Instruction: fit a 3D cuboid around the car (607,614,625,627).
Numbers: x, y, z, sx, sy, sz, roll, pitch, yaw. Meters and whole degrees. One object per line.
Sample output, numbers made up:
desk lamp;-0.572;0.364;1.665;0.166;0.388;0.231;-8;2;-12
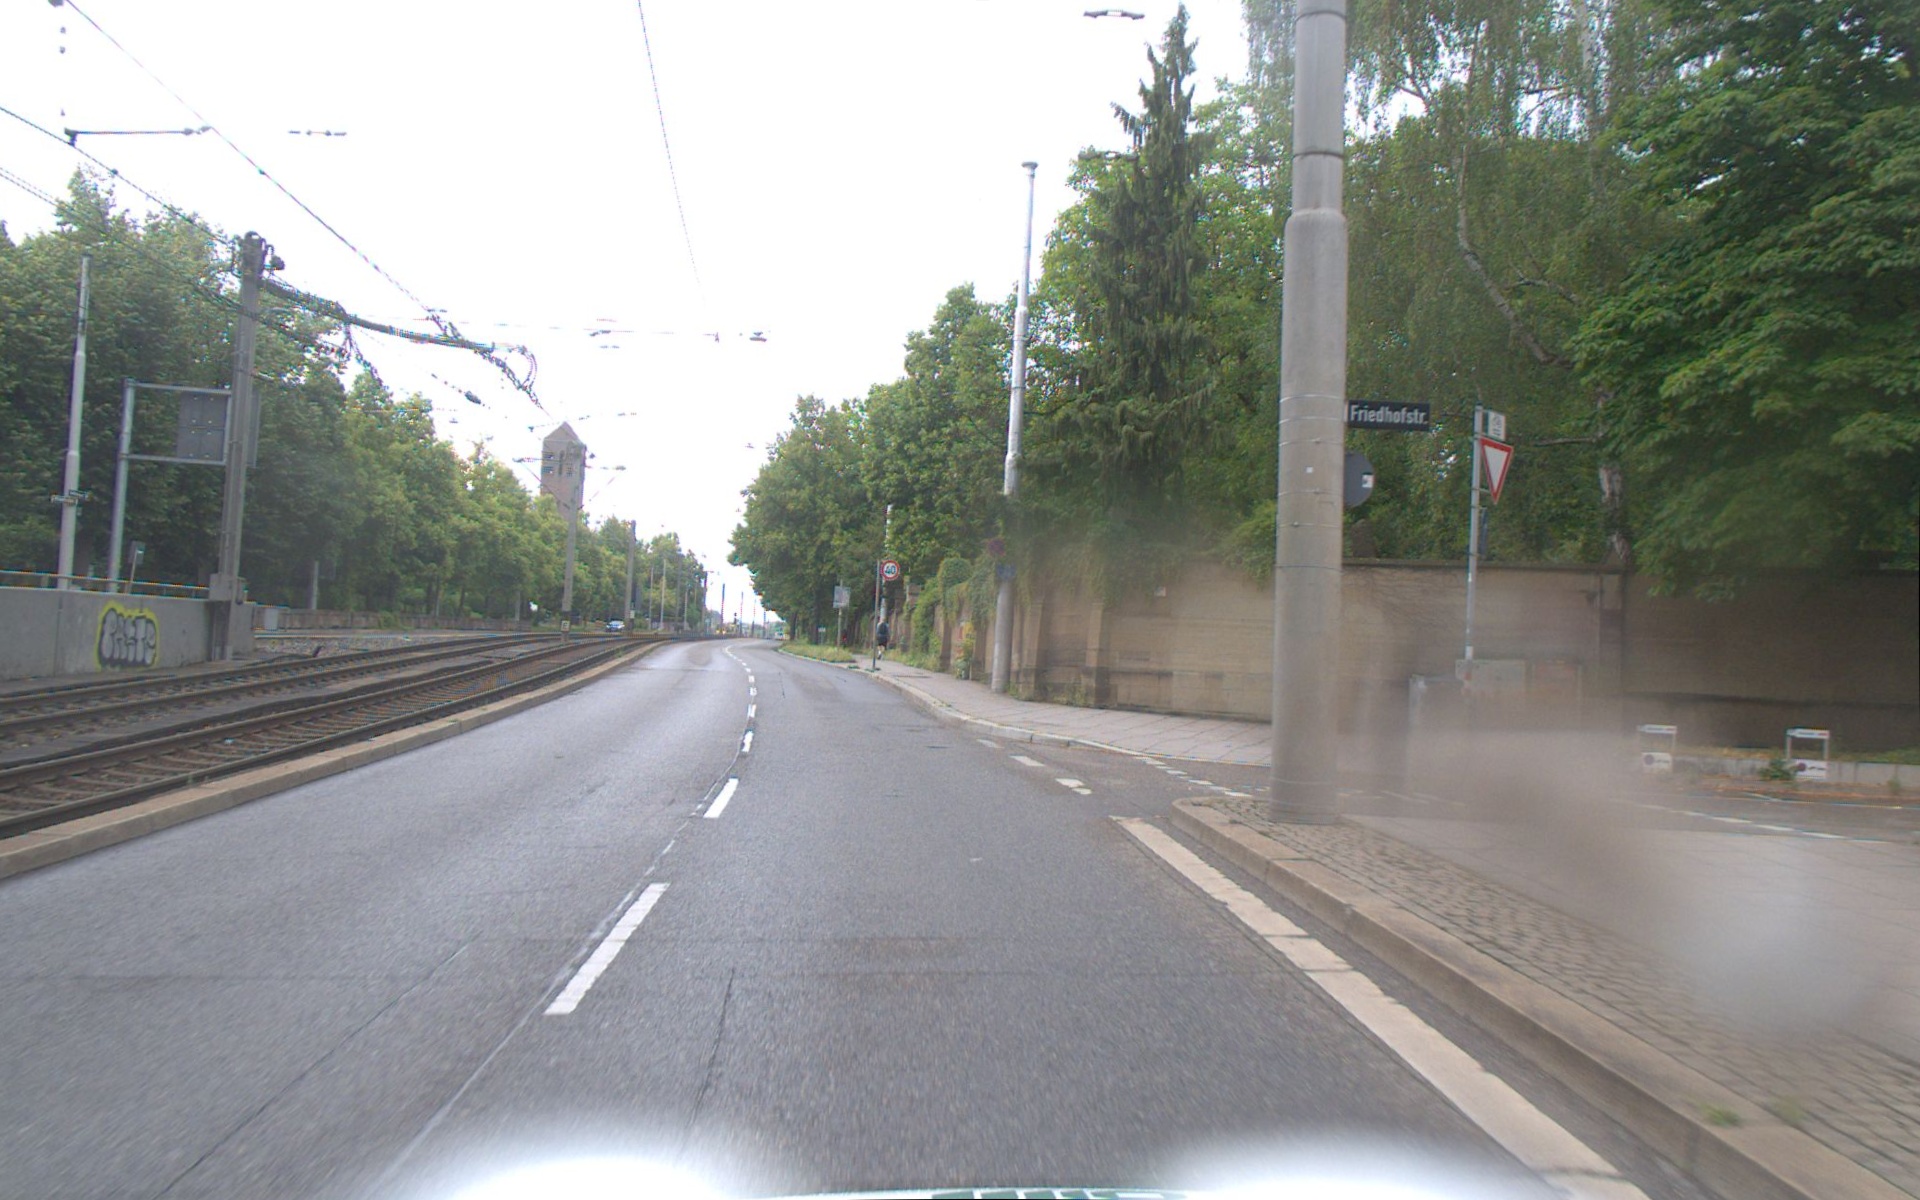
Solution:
car;-42.004;2.489;202.129;1.760;1.536;3.843;3;-1;-7

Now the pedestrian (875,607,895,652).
pedestrian;-3.225;1.290;71.371;0.706;1.882;0.782;4;-2;-7

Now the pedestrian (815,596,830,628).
pedestrian;-7.583;0.652;91.465;0.706;1.717;0.728;4;-2;-7
